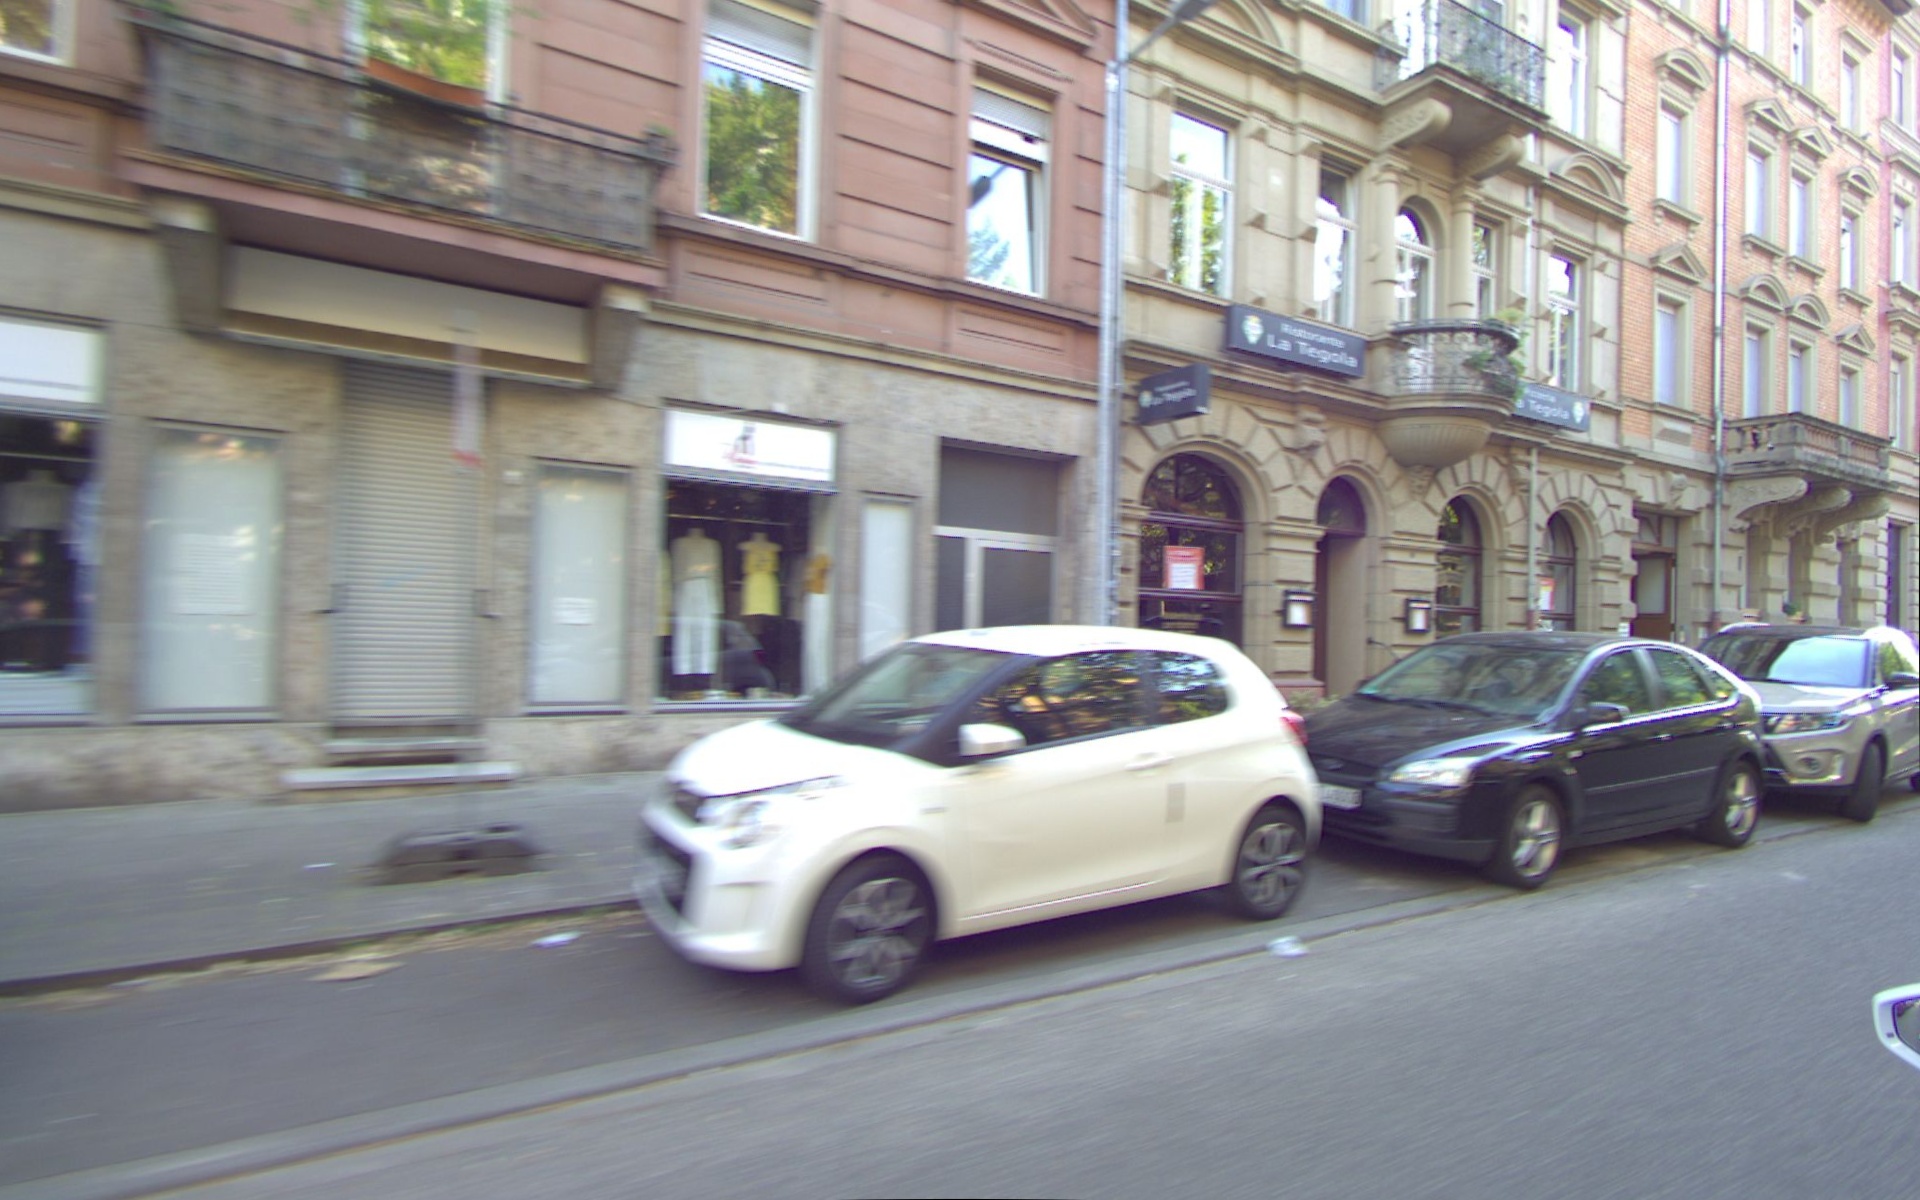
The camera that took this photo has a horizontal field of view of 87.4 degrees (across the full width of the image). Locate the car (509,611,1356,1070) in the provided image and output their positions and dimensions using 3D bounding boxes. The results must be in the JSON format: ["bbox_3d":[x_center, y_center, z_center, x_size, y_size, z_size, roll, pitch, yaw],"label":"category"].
[{"bbox_3d":[0.015,0.842,4.987,3.954,1.492,1.574,2,-2,-31],"label":"car"}]

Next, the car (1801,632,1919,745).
[{"bbox_3d":[14.361,1.237,13.839,1.808,1.550,3.960,2,-2,-36],"label":"car"}]

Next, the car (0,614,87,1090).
[{"bbox_3d":[-4.620,0.726,2.101,3.913,1.458,1.697,2,-2,-31],"label":"car"}]

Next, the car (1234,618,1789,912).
[{"bbox_3d":[3.980,0.945,7.095,3.954,1.493,1.639,2,1,-31],"label":"car"}]

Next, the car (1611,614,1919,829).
[{"bbox_3d":[8.079,1.005,9.645,4.009,1.595,1.636,2,1,-35],"label":"car"}]
